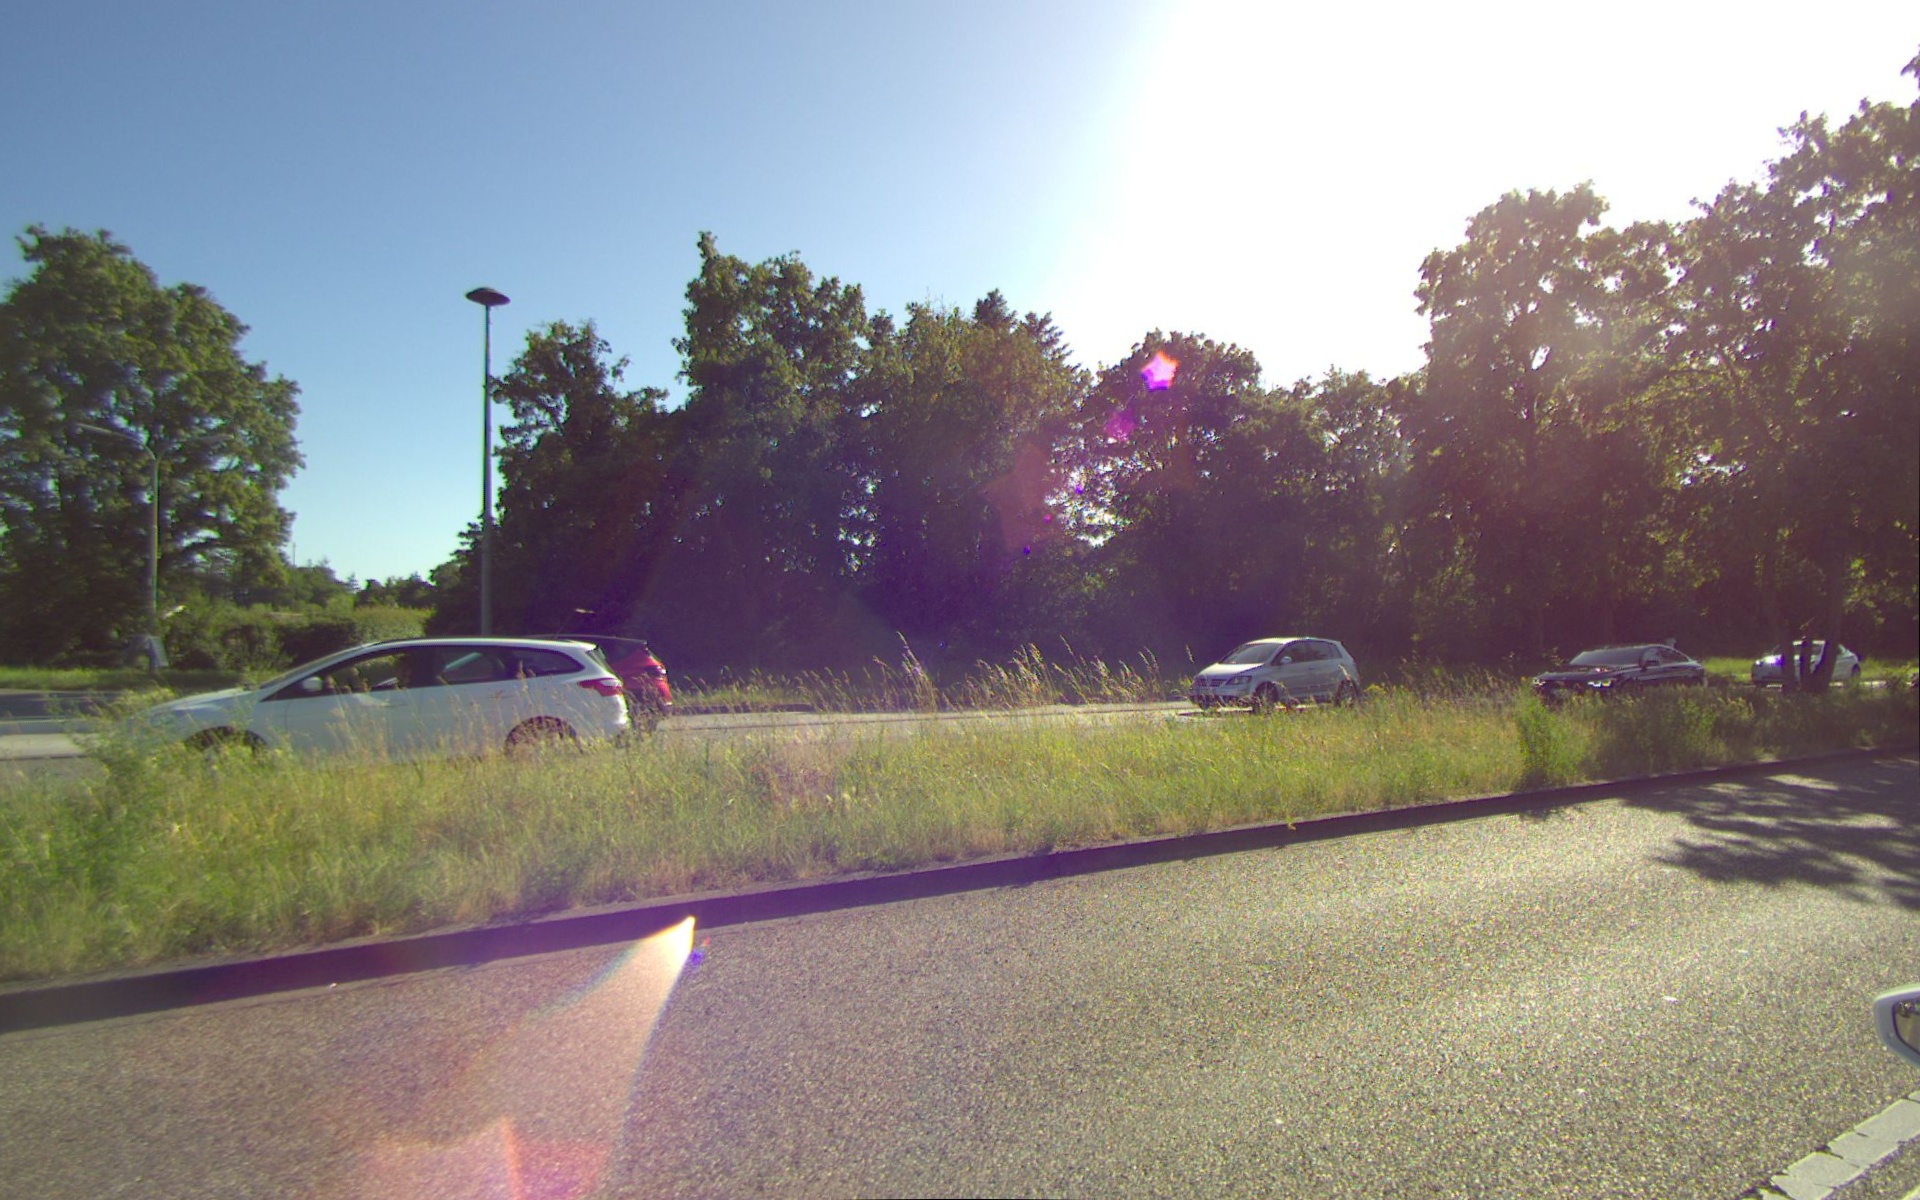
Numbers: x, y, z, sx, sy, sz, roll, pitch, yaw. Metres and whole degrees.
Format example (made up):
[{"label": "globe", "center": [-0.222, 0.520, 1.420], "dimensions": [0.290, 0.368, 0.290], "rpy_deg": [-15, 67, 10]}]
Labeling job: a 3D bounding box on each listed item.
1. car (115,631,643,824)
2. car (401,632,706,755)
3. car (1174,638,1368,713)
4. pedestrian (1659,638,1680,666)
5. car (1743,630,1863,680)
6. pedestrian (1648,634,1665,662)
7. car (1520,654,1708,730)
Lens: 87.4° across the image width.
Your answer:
[{"label": "car", "center": [-5.629, 1.145, 10.275], "dimensions": [4.305, 1.623, 1.706], "rpy_deg": [1, -2, -29]}, {"label": "car", "center": [-5.905, 1.301, 14.743], "dimensions": [3.955, 1.583, 1.596], "rpy_deg": [1, -4, -32]}, {"label": "car", "center": [6.733, 1.573, 21.666], "dimensions": [4.015, 1.491, 1.706], "rpy_deg": [1, -3, -29]}, {"label": "pedestrian", "center": [37.826, 2.743, 53.543], "dimensions": [0.906, 1.479, 0.542], "rpy_deg": [1, -2, -30]}, {"label": "car", "center": [30.052, 1.951, 35.765], "dimensions": [4.534, 1.609, 1.831], "rpy_deg": [1, -7, -32]}, {"label": "pedestrian", "center": [37.458, 2.597, 54.005], "dimensions": [0.589, 1.479, 0.542], "rpy_deg": [1, -2, -30]}, {"label": "car", "center": [14.110, 1.915, 21.639], "dimensions": [4.200, 1.413, 1.694], "rpy_deg": [1, -2, -30]}]
